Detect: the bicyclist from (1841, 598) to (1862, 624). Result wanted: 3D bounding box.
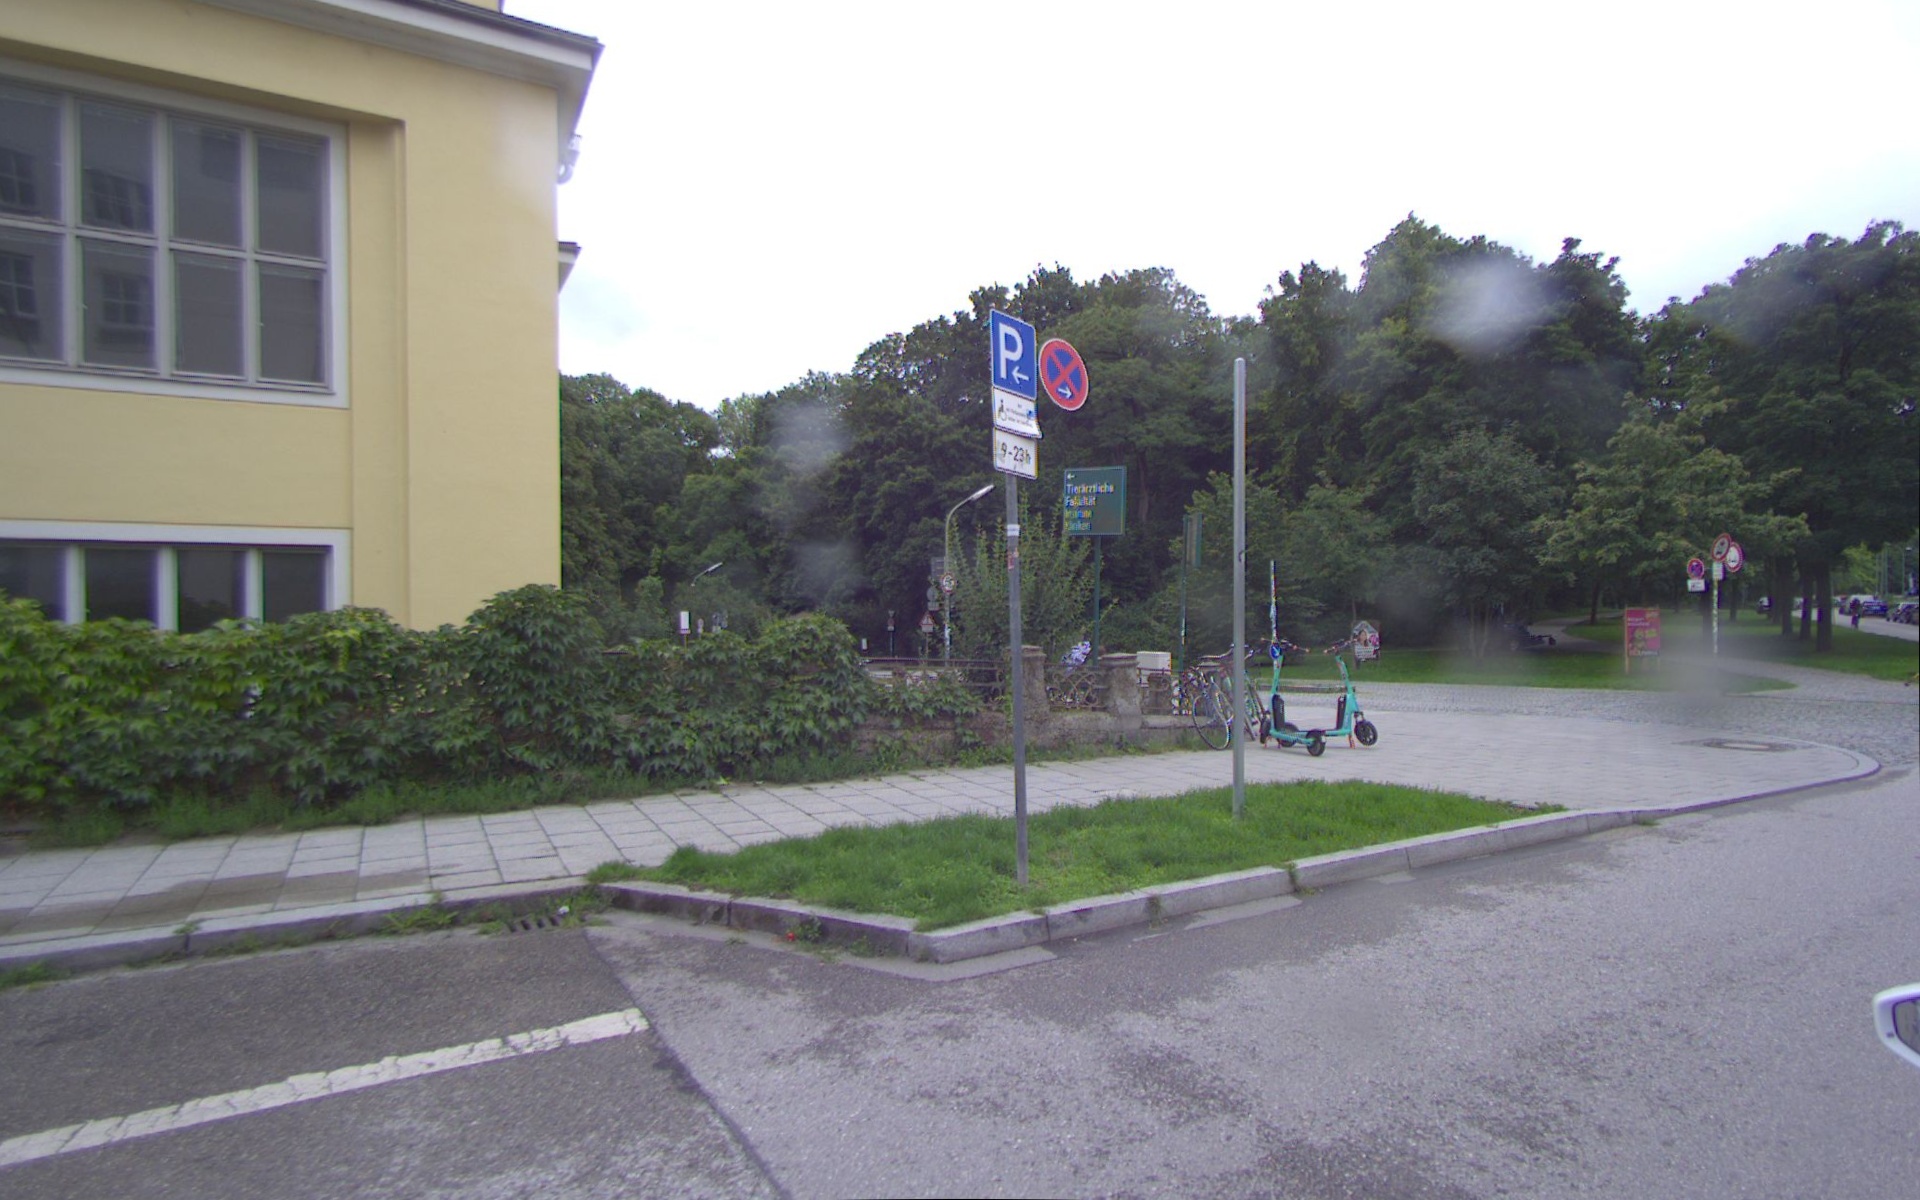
[{"bbox_3d":[51.593,0.629,58.142,0.785,1.490,0.890,0,0,36],"label":"bicyclist"}]

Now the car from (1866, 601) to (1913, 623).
[{"bbox_3d":[70.332,0.880,76.083,1.966,1.627,3.989,0,-1,33],"label":"car"}]

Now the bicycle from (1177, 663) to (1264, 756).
[{"bbox_3d":[3.027,1.236,11.622,0.535,0.986,1.149,0,-2,40],"label":"bicycle"}]

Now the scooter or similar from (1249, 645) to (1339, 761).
[{"bbox_3d":[3.713,1.116,11.239,0.340,1.204,1.114,0,-1,-19],"label":"scooter or similar"}]

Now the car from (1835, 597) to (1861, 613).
[{"bbox_3d":[92.340,0.571,104.399,1.972,1.627,3.977,-1,-1,43],"label":"car"}]

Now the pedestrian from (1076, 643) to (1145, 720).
[{"bbox_3d":[2.776,1.489,18.571,0.985,1.347,0.769,0,-1,-37],"label":"pedestrian"}]

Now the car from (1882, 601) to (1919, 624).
[{"bbox_3d":[67.253,0.900,71.366,1.966,1.627,3.989,0,-1,33],"label":"car"}]

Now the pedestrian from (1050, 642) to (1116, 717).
[{"bbox_3d":[2.343,1.490,19.128,0.985,1.347,0.769,0,-1,-37],"label":"pedestrian"}]

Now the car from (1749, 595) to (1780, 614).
[{"bbox_3d":[74.060,0.450,92.516,1.967,1.713,3.987,-1,-1,35],"label":"car"}]

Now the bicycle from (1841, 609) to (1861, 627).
[{"bbox_3d":[51.610,1.024,58.196,0.631,0.981,1.988,0,0,35],"label":"bicycle"}]

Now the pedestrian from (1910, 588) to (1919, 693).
[{"bbox_3d":[19.084,0.780,19.304,0.944,2.040,0.928,0,0,-26],"label":"pedestrian"}]

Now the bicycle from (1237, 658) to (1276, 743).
[{"bbox_3d":[3.988,1.325,13.570,0.295,1.003,1.585,-1,-1,9],"label":"bicycle"}]

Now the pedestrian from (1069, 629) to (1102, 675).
[{"bbox_3d":[4.781,1.957,38.298,0.879,1.710,0.939,0,-1,-27],"label":"pedestrian"}]

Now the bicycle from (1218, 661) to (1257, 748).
[{"bbox_3d":[3.606,1.327,13.102,0.295,1.003,1.585,-1,-1,9],"label":"bicycle"}]

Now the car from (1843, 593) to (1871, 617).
[{"bbox_3d":[85.228,0.509,95.414,1.972,2.188,3.977,0,-1,43],"label":"car"}]

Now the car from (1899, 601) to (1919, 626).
[{"bbox_3d":[64.163,0.921,66.664,1.966,1.627,3.989,0,-1,33],"label":"car"}]

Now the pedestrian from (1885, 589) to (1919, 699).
[{"bbox_3d":[18.179,0.807,18.853,0.944,2.040,0.928,0,0,-26],"label":"pedestrian"}]

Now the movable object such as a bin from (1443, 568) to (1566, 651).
[{"bbox_3d":[22.274,0.406,41.232,3.919,3.256,2.001,-1,-1,5],"label":"movable object such as a bin"}]

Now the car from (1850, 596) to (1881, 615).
[{"bbox_3d":[79.543,0.462,88.220,1.972,1.627,3.977,-1,-1,43],"label":"car"}]

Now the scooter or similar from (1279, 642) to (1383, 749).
[{"bbox_3d":[4.324,1.104,11.745,1.096,1.204,0.345,0,0,8],"label":"scooter or similar"}]
